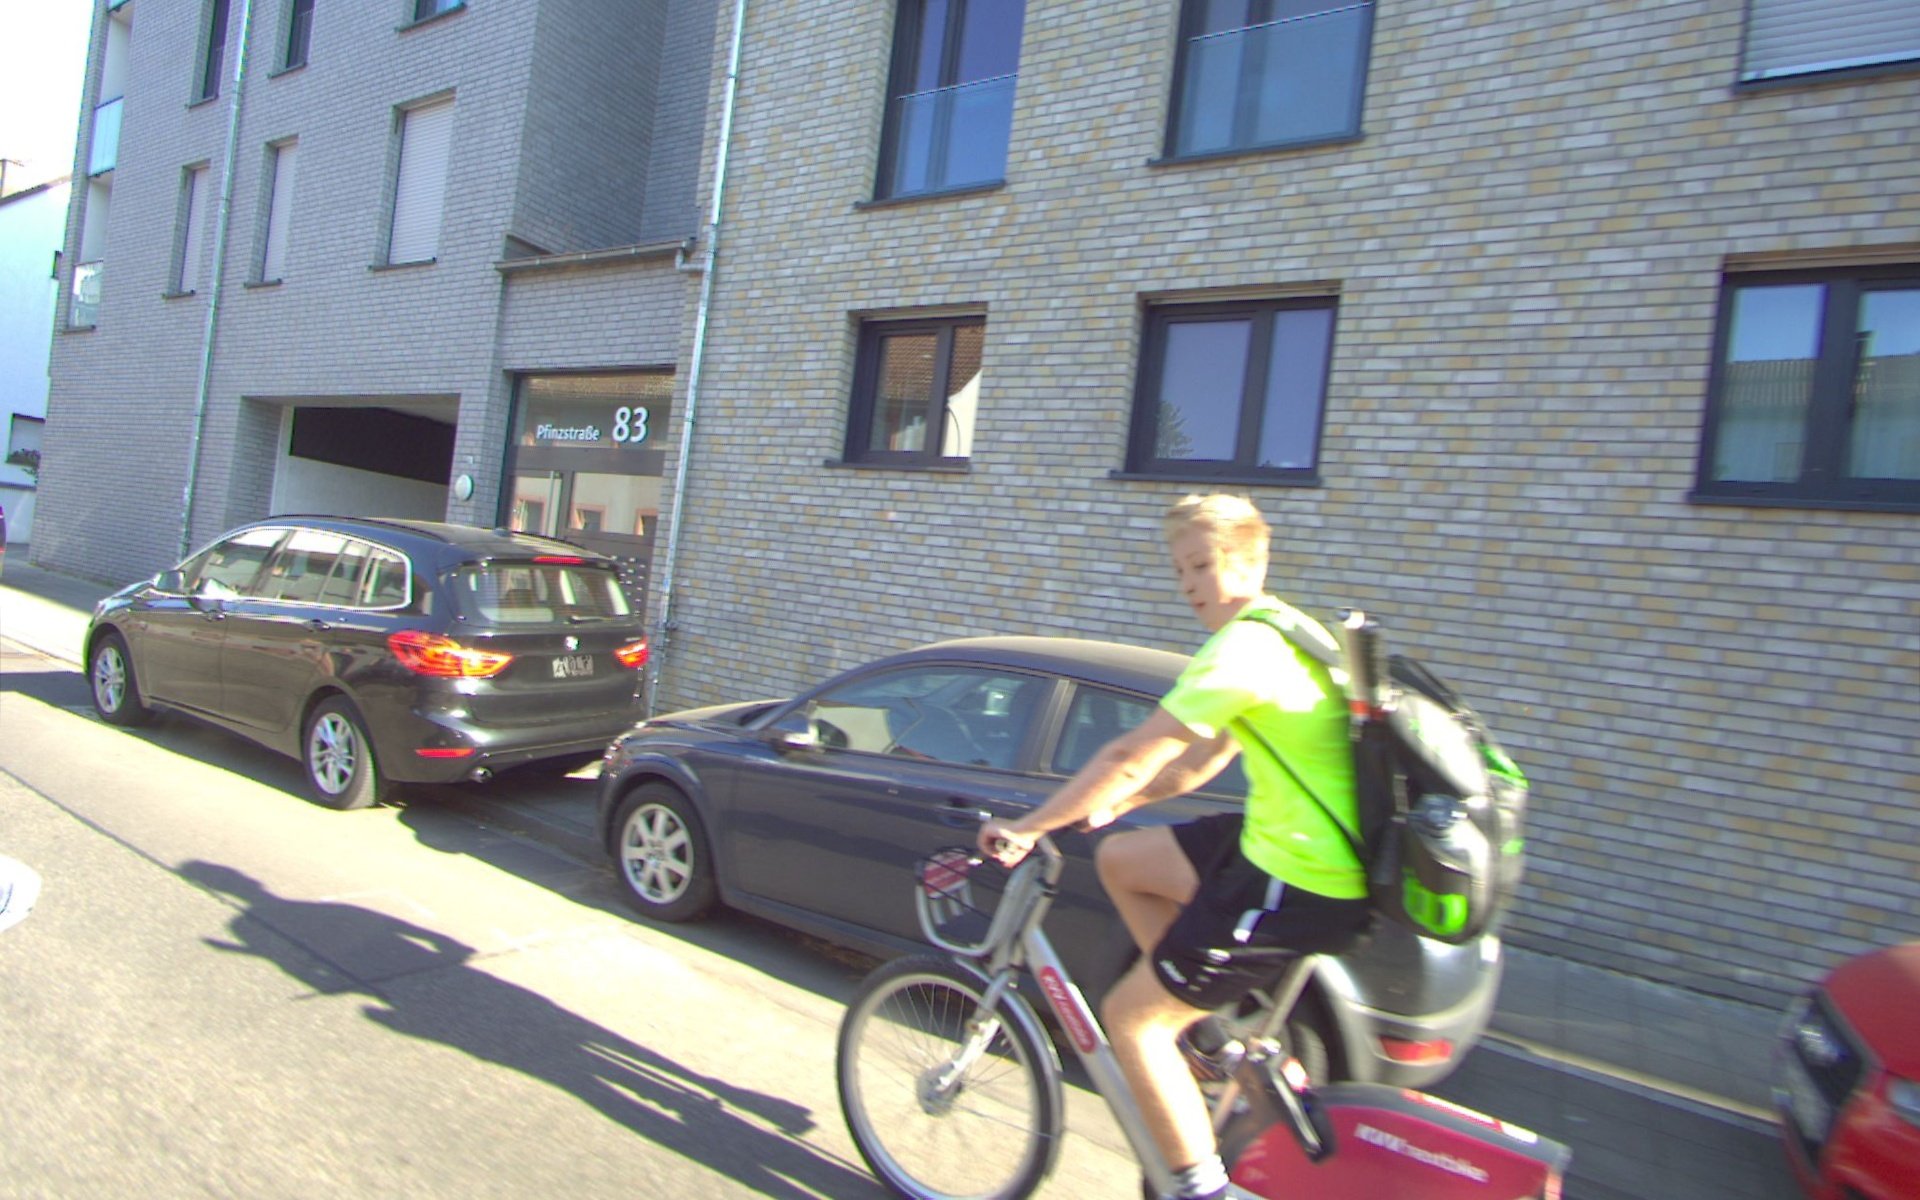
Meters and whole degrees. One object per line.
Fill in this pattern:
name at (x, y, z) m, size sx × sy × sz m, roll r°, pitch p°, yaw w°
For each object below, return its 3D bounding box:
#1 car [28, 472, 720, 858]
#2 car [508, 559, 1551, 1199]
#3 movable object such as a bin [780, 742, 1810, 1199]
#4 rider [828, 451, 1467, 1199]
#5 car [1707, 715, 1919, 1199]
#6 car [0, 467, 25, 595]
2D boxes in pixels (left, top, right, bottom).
car at (-4.218, 0.258, 7.071) m, size 4.681 × 1.673 × 1.997 m, roll 8°, pitch 0°, yaw 29°
car at (0.183, 0.880, 4.713) m, size 4.293 × 1.524 × 1.997 m, roll 8°, pitch 0°, yaw 31°
movable object such as a bin at (0.534, 0.964, 2.133) m, size 1.809 × 1.044 × 0.456 m, roll 6°, pitch -3°, yaw 30°
rider at (0.432, 0.539, 2.225) m, size 1.065 × 1.578 × 0.655 m, roll 6°, pitch -3°, yaw 30°
car at (4.197, 1.342, 2.042) m, size 4.005 × 1.424 × 1.712 m, roll 7°, pitch 3°, yaw 31°
car at (-14.877, -1.184, 13.821) m, size 4.547 × 1.658 × 1.855 m, roll 8°, pitch 3°, yaw 33°
